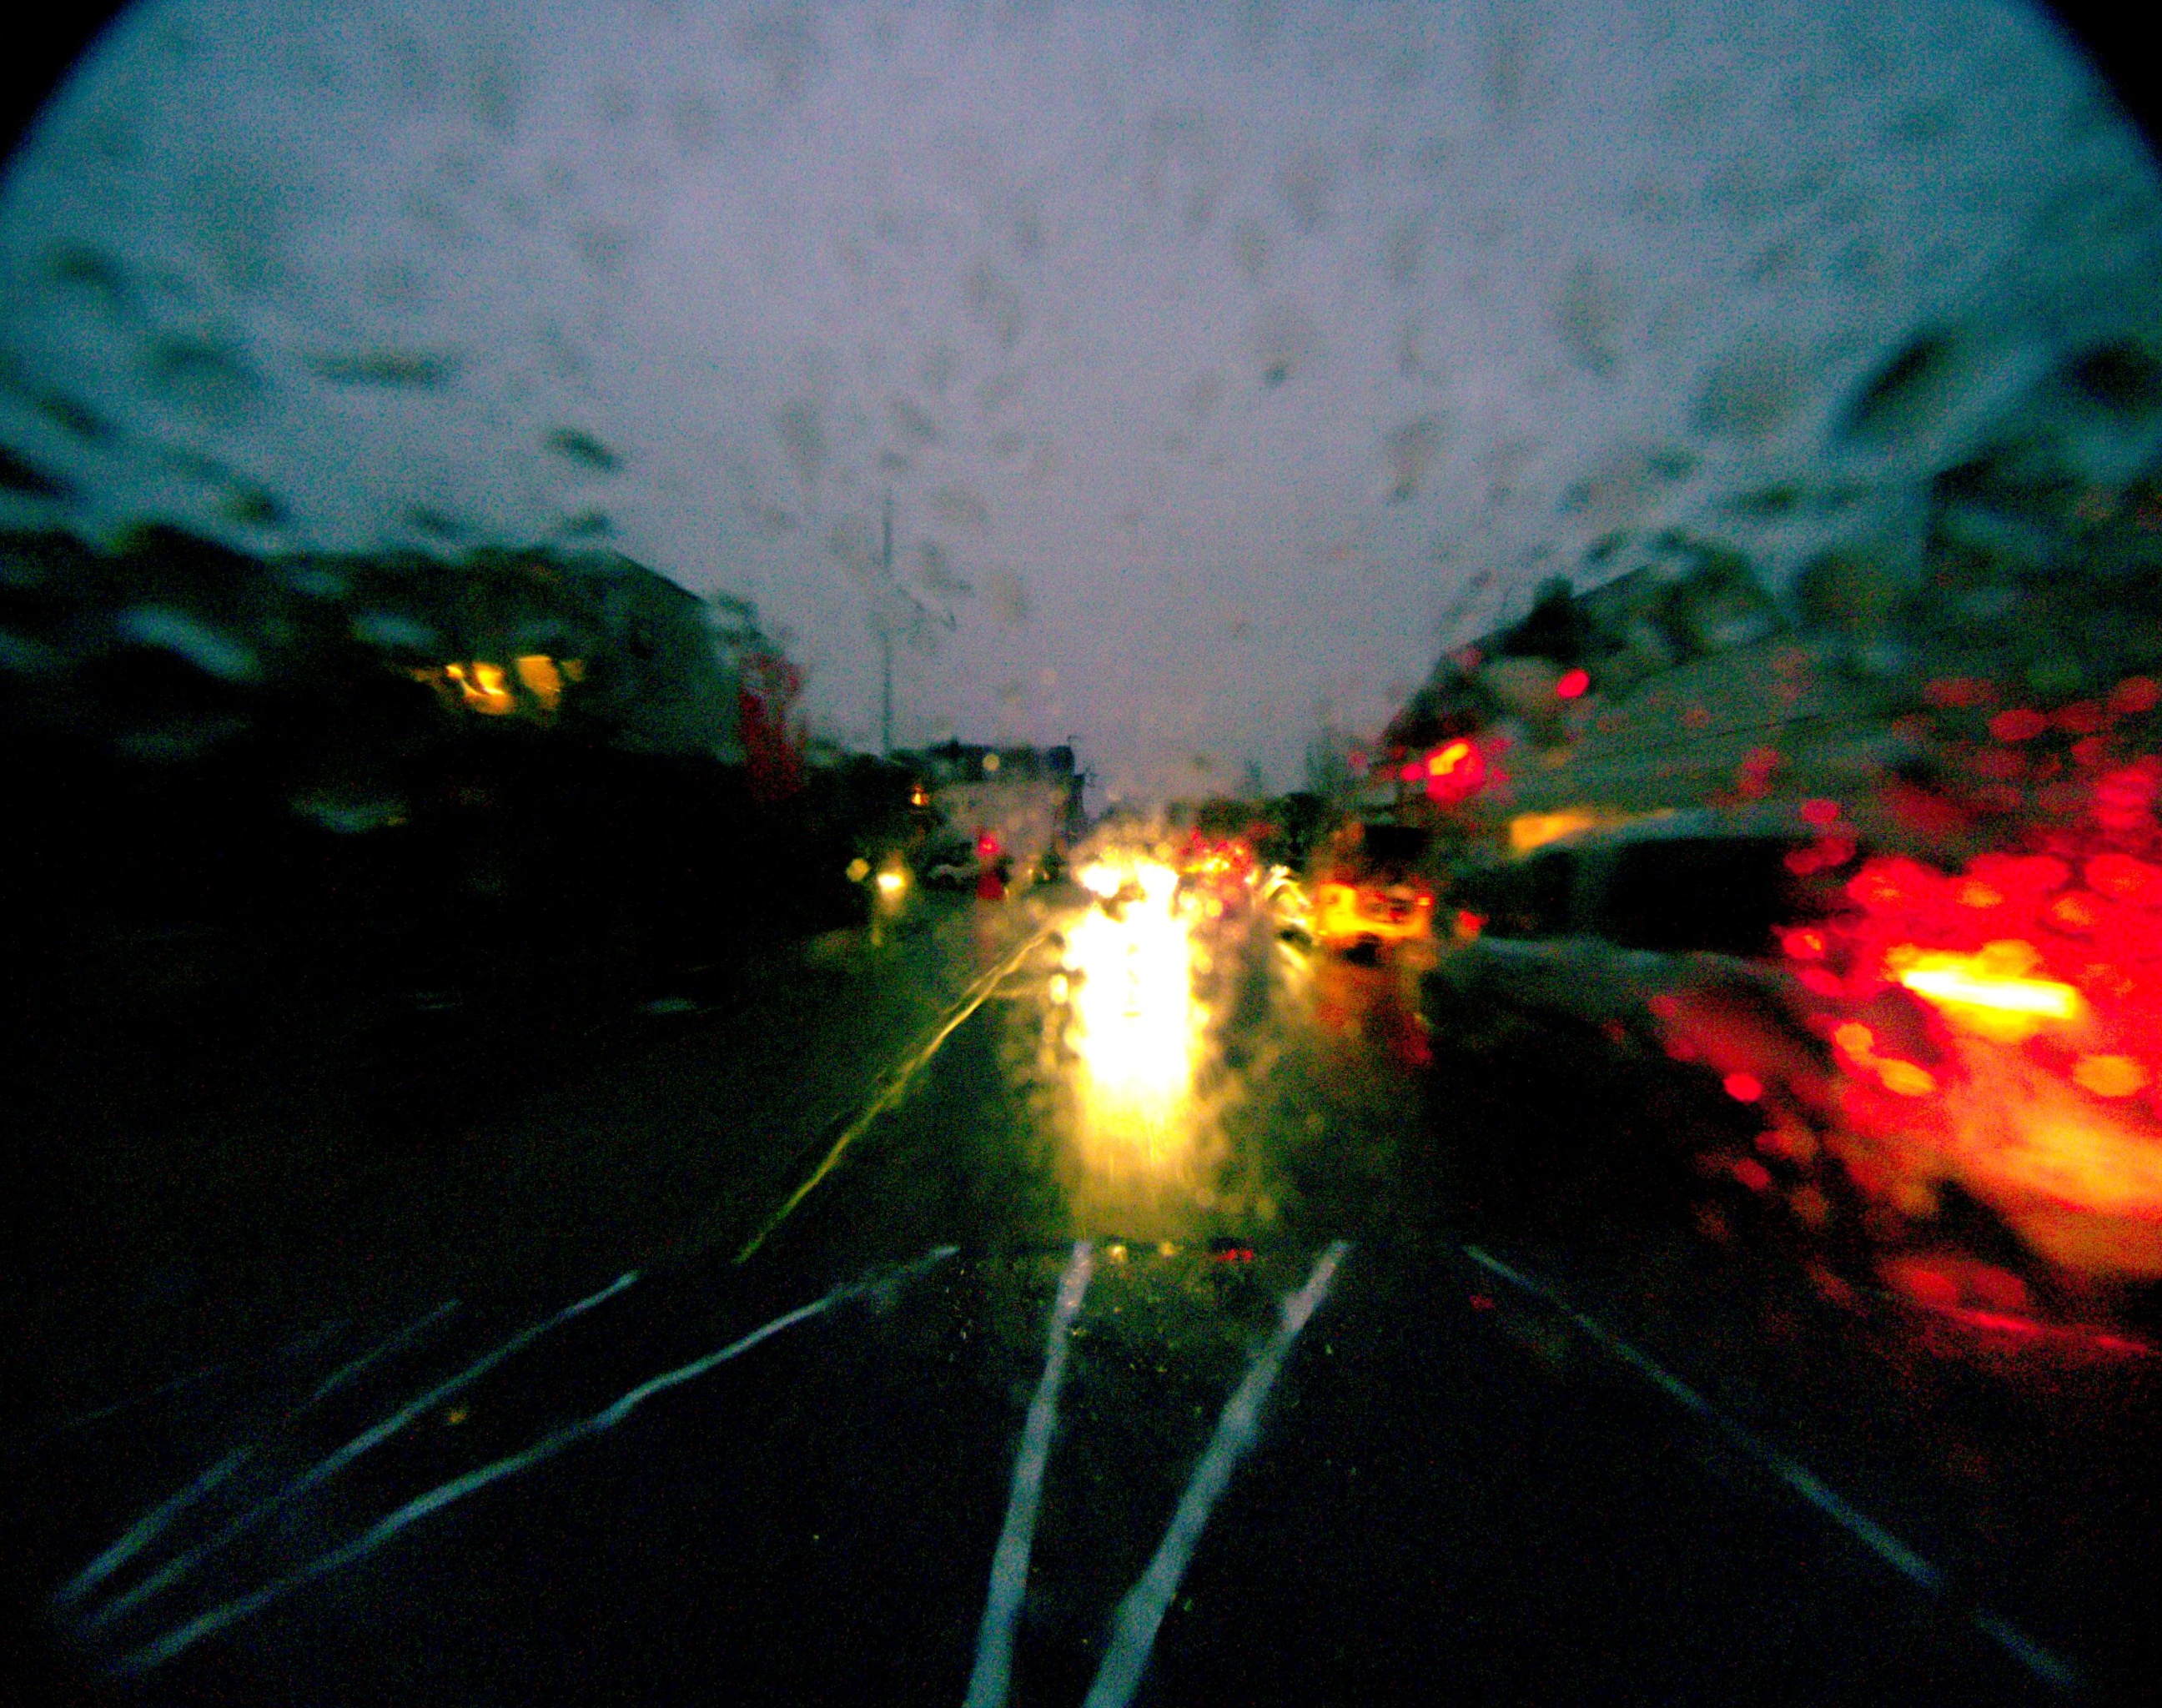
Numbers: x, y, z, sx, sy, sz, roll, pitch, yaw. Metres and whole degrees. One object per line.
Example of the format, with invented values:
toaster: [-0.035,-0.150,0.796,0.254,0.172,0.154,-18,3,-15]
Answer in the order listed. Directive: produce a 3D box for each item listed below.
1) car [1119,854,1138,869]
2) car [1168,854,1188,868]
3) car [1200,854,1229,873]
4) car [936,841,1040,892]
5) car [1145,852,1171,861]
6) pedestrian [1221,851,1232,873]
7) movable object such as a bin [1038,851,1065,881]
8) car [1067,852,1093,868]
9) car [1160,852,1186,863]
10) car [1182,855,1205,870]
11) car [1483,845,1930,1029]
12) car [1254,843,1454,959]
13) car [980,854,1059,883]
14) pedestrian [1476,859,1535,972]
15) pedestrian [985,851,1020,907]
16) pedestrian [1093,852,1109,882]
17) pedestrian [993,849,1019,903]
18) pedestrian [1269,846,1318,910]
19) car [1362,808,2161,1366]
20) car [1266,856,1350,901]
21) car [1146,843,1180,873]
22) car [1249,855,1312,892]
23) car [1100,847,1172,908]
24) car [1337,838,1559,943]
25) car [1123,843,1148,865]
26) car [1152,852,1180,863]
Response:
car: [5.372,0.833,86.392,1.998,1.506,4.000,-2,0,1]
car: [11.390,0.824,89.475,1.840,1.526,4.139,-2,0,1]
car: [11.433,0.779,65.229,1.788,1.480,4.182,-2,1,2]
car: [-4.062,0.517,33.452,4.097,2.038,2.002,1,1,12]
car: [12.147,0.345,119.998,3.995,1.291,2.001,-2,0,7]
pedestrian: [13.533,0.711,70.588,0.902,2.002,0.791,-1,0,5]
movable object such as a bin: [-1.697,0.678,43.898,1.396,1.634,1.261,2,0,1]
car: [-0.064,0.619,78.133,1.933,1.476,4.699,-3,0,7]
car: [13.838,0.517,114.353,3.839,1.537,2.001,-2,1,9]
car: [11.302,0.806,76.518,1.698,1.423,4.377,-2,0,2]
car: [7.156,0.773,9.544,1.885,1.700,4.713,-2,0,3]
car: [4.735,0.768,14.109,1.998,1.695,4.968,-3,-1,2]
car: [-3.311,0.767,41.487,3.995,1.478,1.913,0,1,7]
pedestrian: [6.093,0.866,10.925,0.529,1.576,0.576,0,0,1]
pedestrian: [-2.462,0.767,23.974,0.837,1.695,0.846,1,1,15]
pedestrian: [1.283,0.845,49.599,0.969,1.878,1.006,-2,1,1]
pedestrian: [-2.435,0.699,24.771,0.705,1.695,0.915,-1,1,-1]
pedestrian: [6.387,0.711,22.852,0.944,1.865,1.010,-1,1,-36]
car: [3.438,0.750,4.341,1.957,1.537,4.417,1,-2,-1]
car: [8.484,0.854,28.875,1.998,1.514,4.979,-1,0,4]
car: [5.759,0.270,53.812,1.998,2.002,4.000,-2,0,1]
car: [9.247,0.844,35.541,1.998,1.549,4.622,-2,0,4]
car: [1.614,0.664,23.790,1.998,1.720,4.000,-2,0,1]
car: [7.238,0.647,15.737,2.091,1.781,5.023,-1,0,-1]
car: [4.842,-0.031,67.570,1.998,1.844,4.000,-2,0,2]
car: [13.134,0.567,117.019,3.993,1.538,2.002,-2,1,11]
